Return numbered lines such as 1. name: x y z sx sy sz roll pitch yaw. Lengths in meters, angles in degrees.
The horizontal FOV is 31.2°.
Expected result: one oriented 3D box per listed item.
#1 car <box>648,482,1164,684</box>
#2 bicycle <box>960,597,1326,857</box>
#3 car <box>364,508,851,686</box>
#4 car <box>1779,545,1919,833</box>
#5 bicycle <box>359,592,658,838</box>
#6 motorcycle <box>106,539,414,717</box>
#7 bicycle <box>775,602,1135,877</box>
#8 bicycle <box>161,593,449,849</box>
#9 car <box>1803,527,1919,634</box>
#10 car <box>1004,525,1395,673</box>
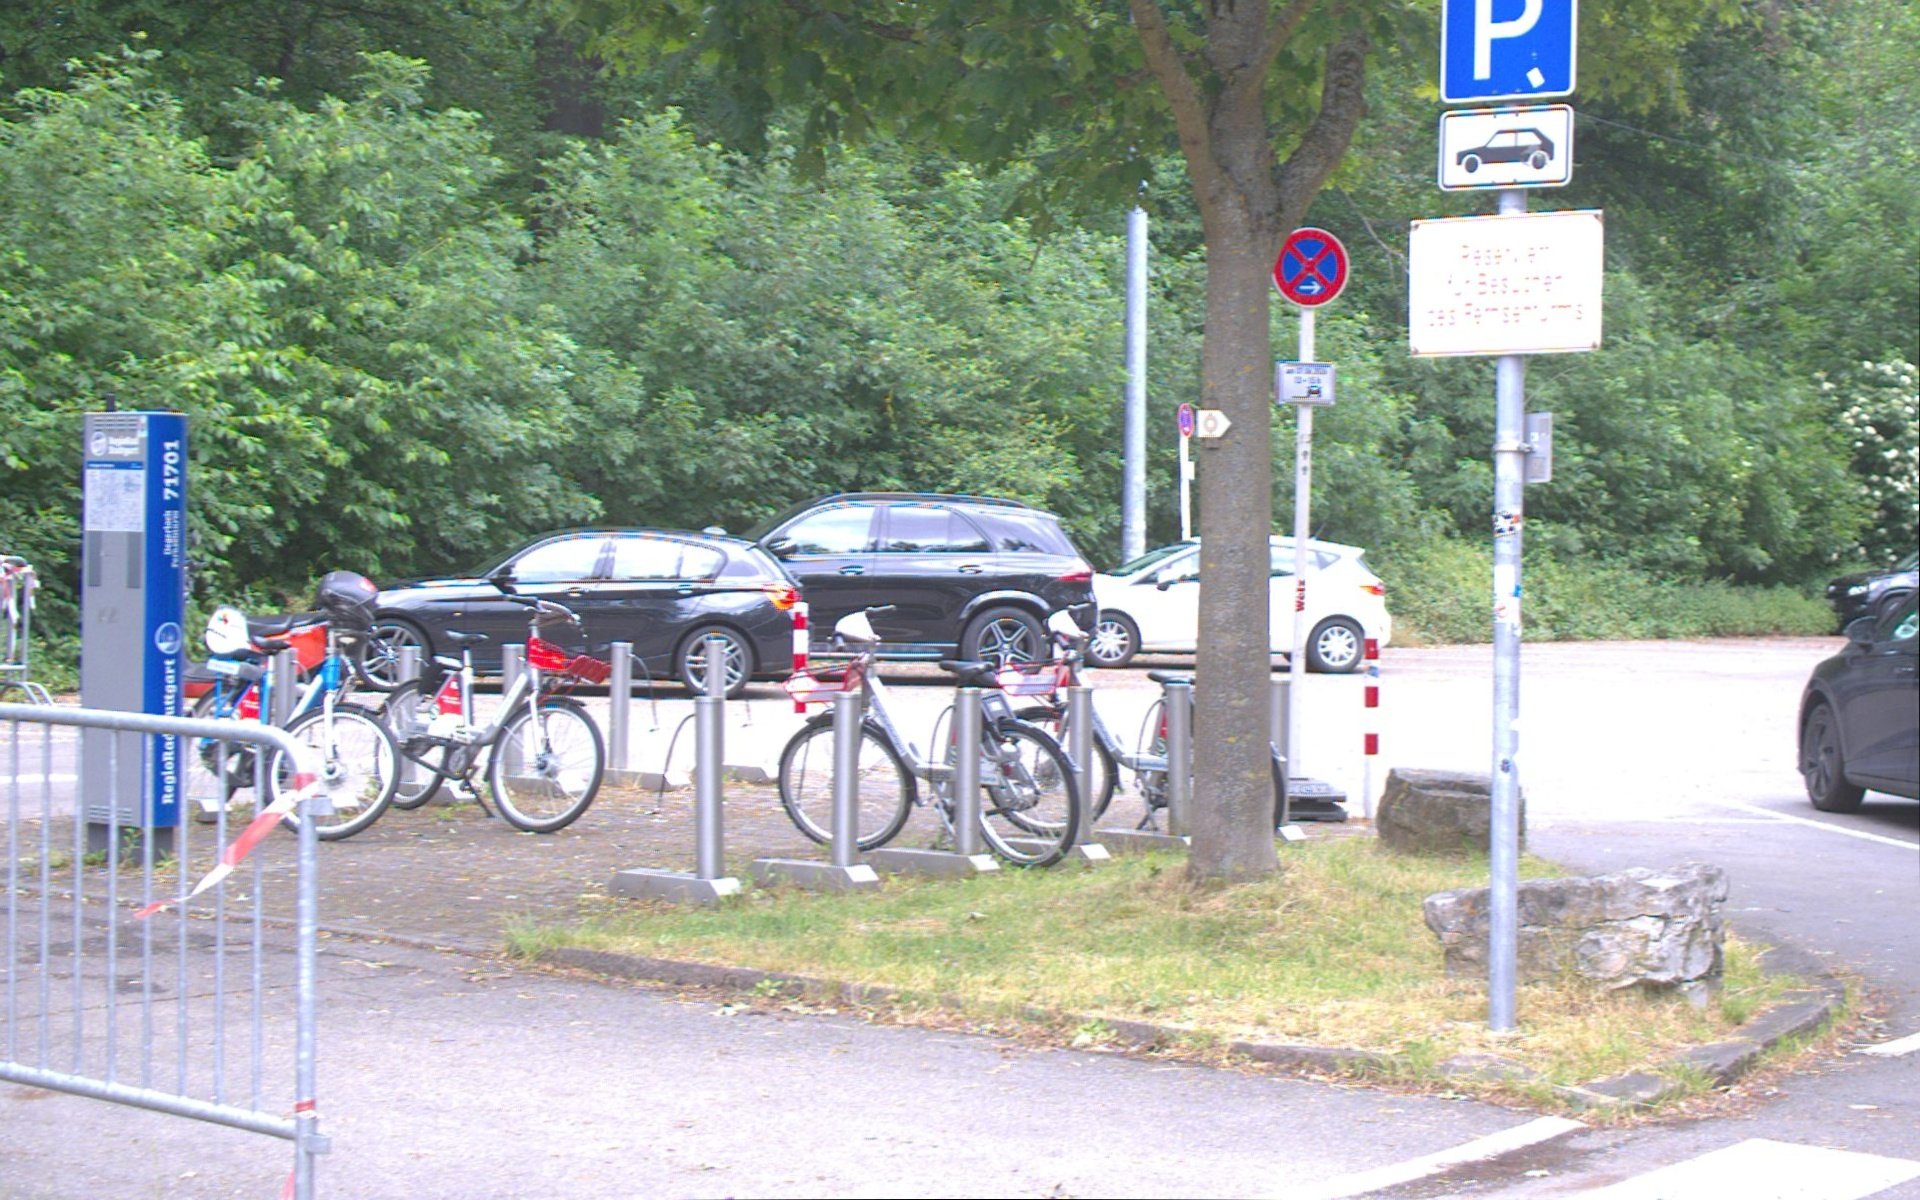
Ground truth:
1. car: -0.573 -0.175 32.567 4.692 1.761 2.113 1 1 -6
2. bicycle: 0.840 0.571 16.216 1.787 1.108 0.481 2 1 42
3. car: -3.003 -0.039 29.390 3.986 1.371 1.740 2 1 -6
4. car: 6.004 0.496 18.691 1.824 1.518 4.101 2 1 -4
5. bicycle: -2.240 0.541 16.916 1.684 1.108 0.505 3 1 45
6. motorcycle: -5.029 0.188 24.754 2.023 1.203 0.731 2 1 4
7. bicycle: -0.041 0.592 15.297 1.684 1.108 0.481 2 1 42
8. bicycle: -3.126 0.547 16.311 0.481 1.108 1.696 1 1 -43
9. car: 16.082 -0.295 56.130 4.057 1.679 1.880 1 1 -5
10. car: 2.581 -0.029 37.651 3.986 1.505 1.870 1 1 -6
